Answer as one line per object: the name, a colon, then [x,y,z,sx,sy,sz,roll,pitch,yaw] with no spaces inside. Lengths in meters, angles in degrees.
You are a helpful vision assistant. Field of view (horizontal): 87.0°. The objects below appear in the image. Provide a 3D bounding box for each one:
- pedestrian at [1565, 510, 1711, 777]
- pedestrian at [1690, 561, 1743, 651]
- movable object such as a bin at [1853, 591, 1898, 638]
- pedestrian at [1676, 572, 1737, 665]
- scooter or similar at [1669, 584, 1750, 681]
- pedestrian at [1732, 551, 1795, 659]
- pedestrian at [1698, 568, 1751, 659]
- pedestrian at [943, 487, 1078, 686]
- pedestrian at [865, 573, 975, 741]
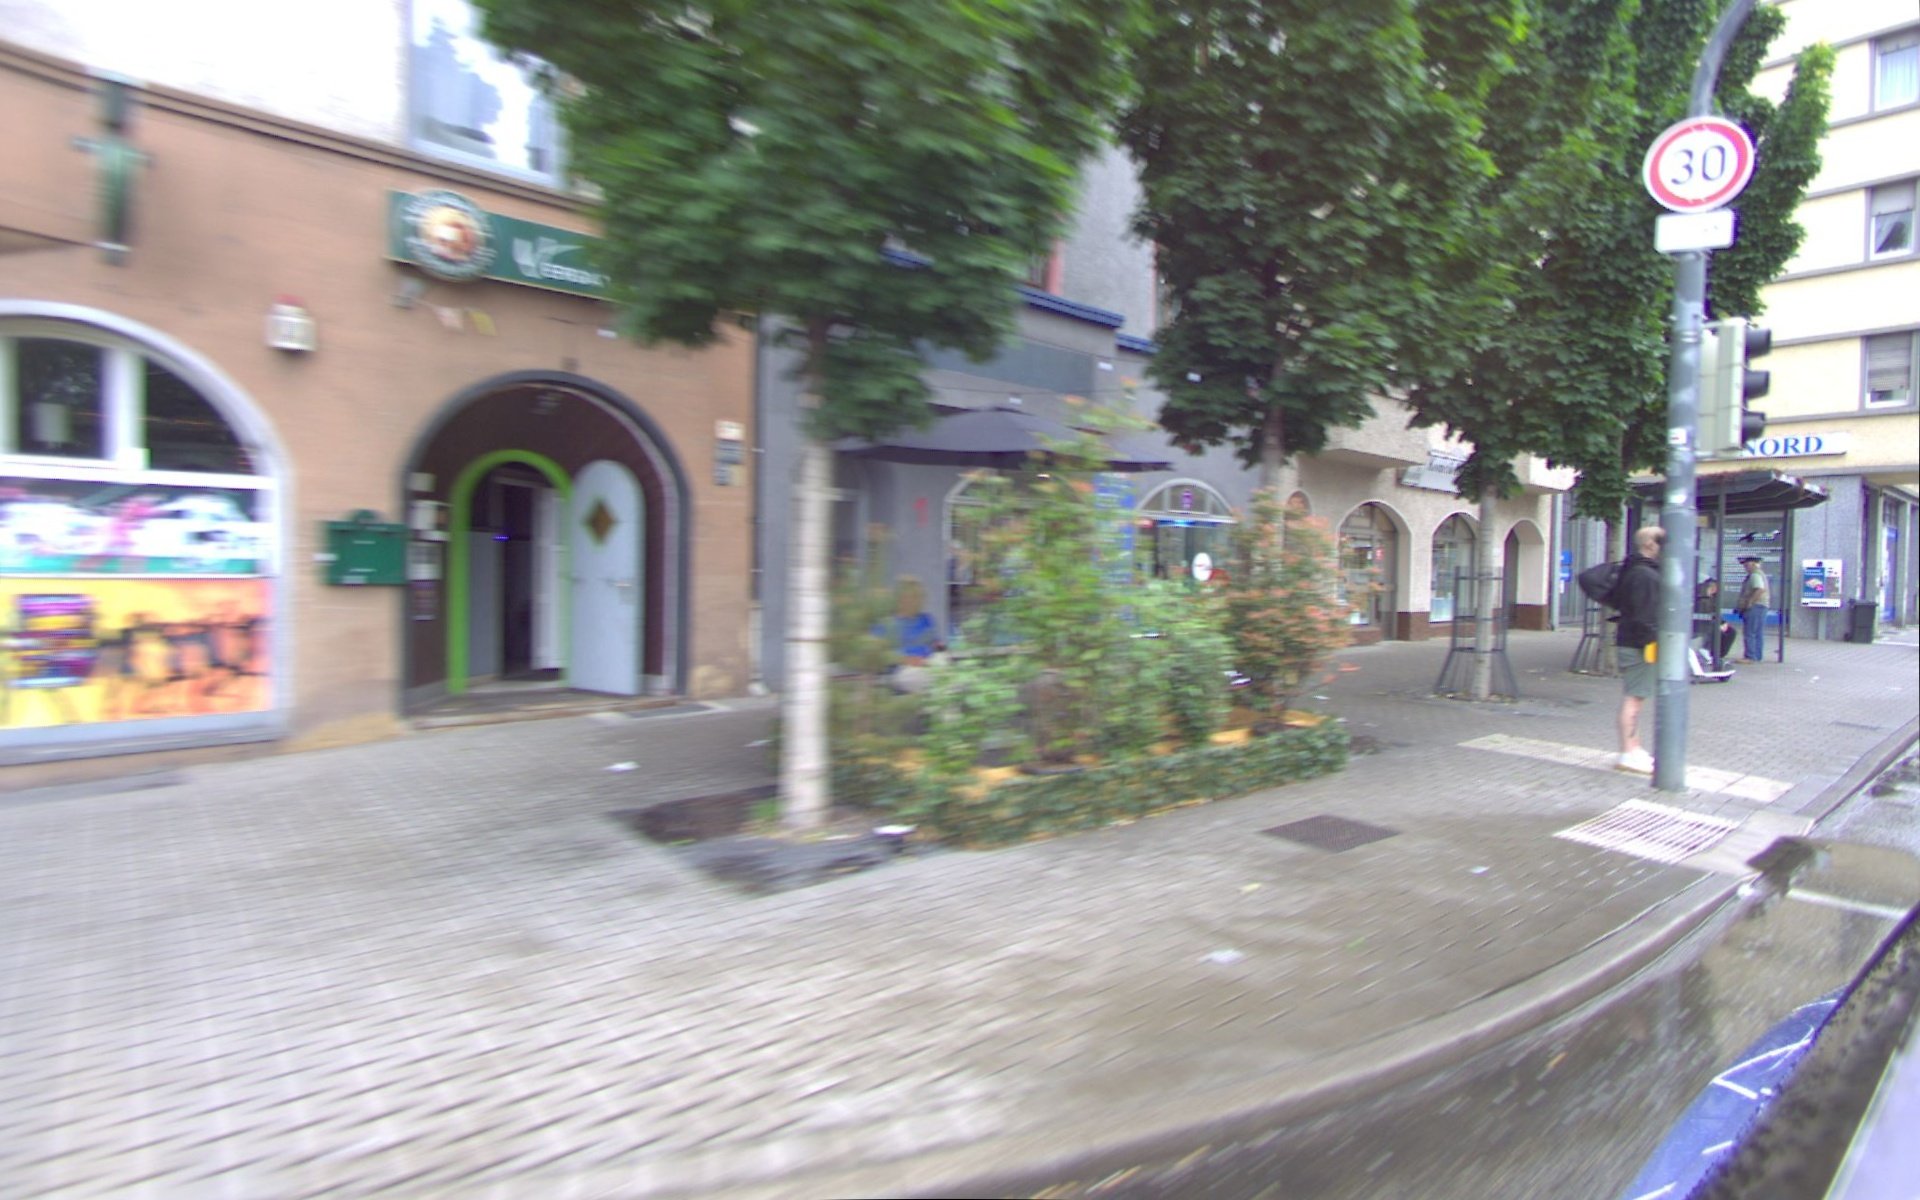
pedestrian: [5.043,0.283,7.535,0.620,1.863,0.734,-2,3,-42]
pedestrian: [11.839,0.082,15.838,0.586,1.366,0.535,-2,3,-42]
movable object such as a bin: [19.444,0.301,21.500,0.692,0.937,0.601,-2,3,-41]
pedestrian: [11.360,0.263,15.411,0.614,1.352,0.607,-2,3,-42]
scooter or similar: [9.962,0.395,13.437,1.522,1.186,0.512,-2,3,-41]
pedestrian: [13.184,0.056,16.612,0.644,1.720,0.621,-1,3,-37]
pedestrian: [12.260,0.195,16.235,0.505,1.413,0.564,-2,3,-43]
pedestrian: [0.556,-0.170,11.081,1.180,2.038,0.898,-2,3,-41]
pedestrian: [-0.311,0.401,7.774,0.547,1.204,0.666,-2,3,-42]
